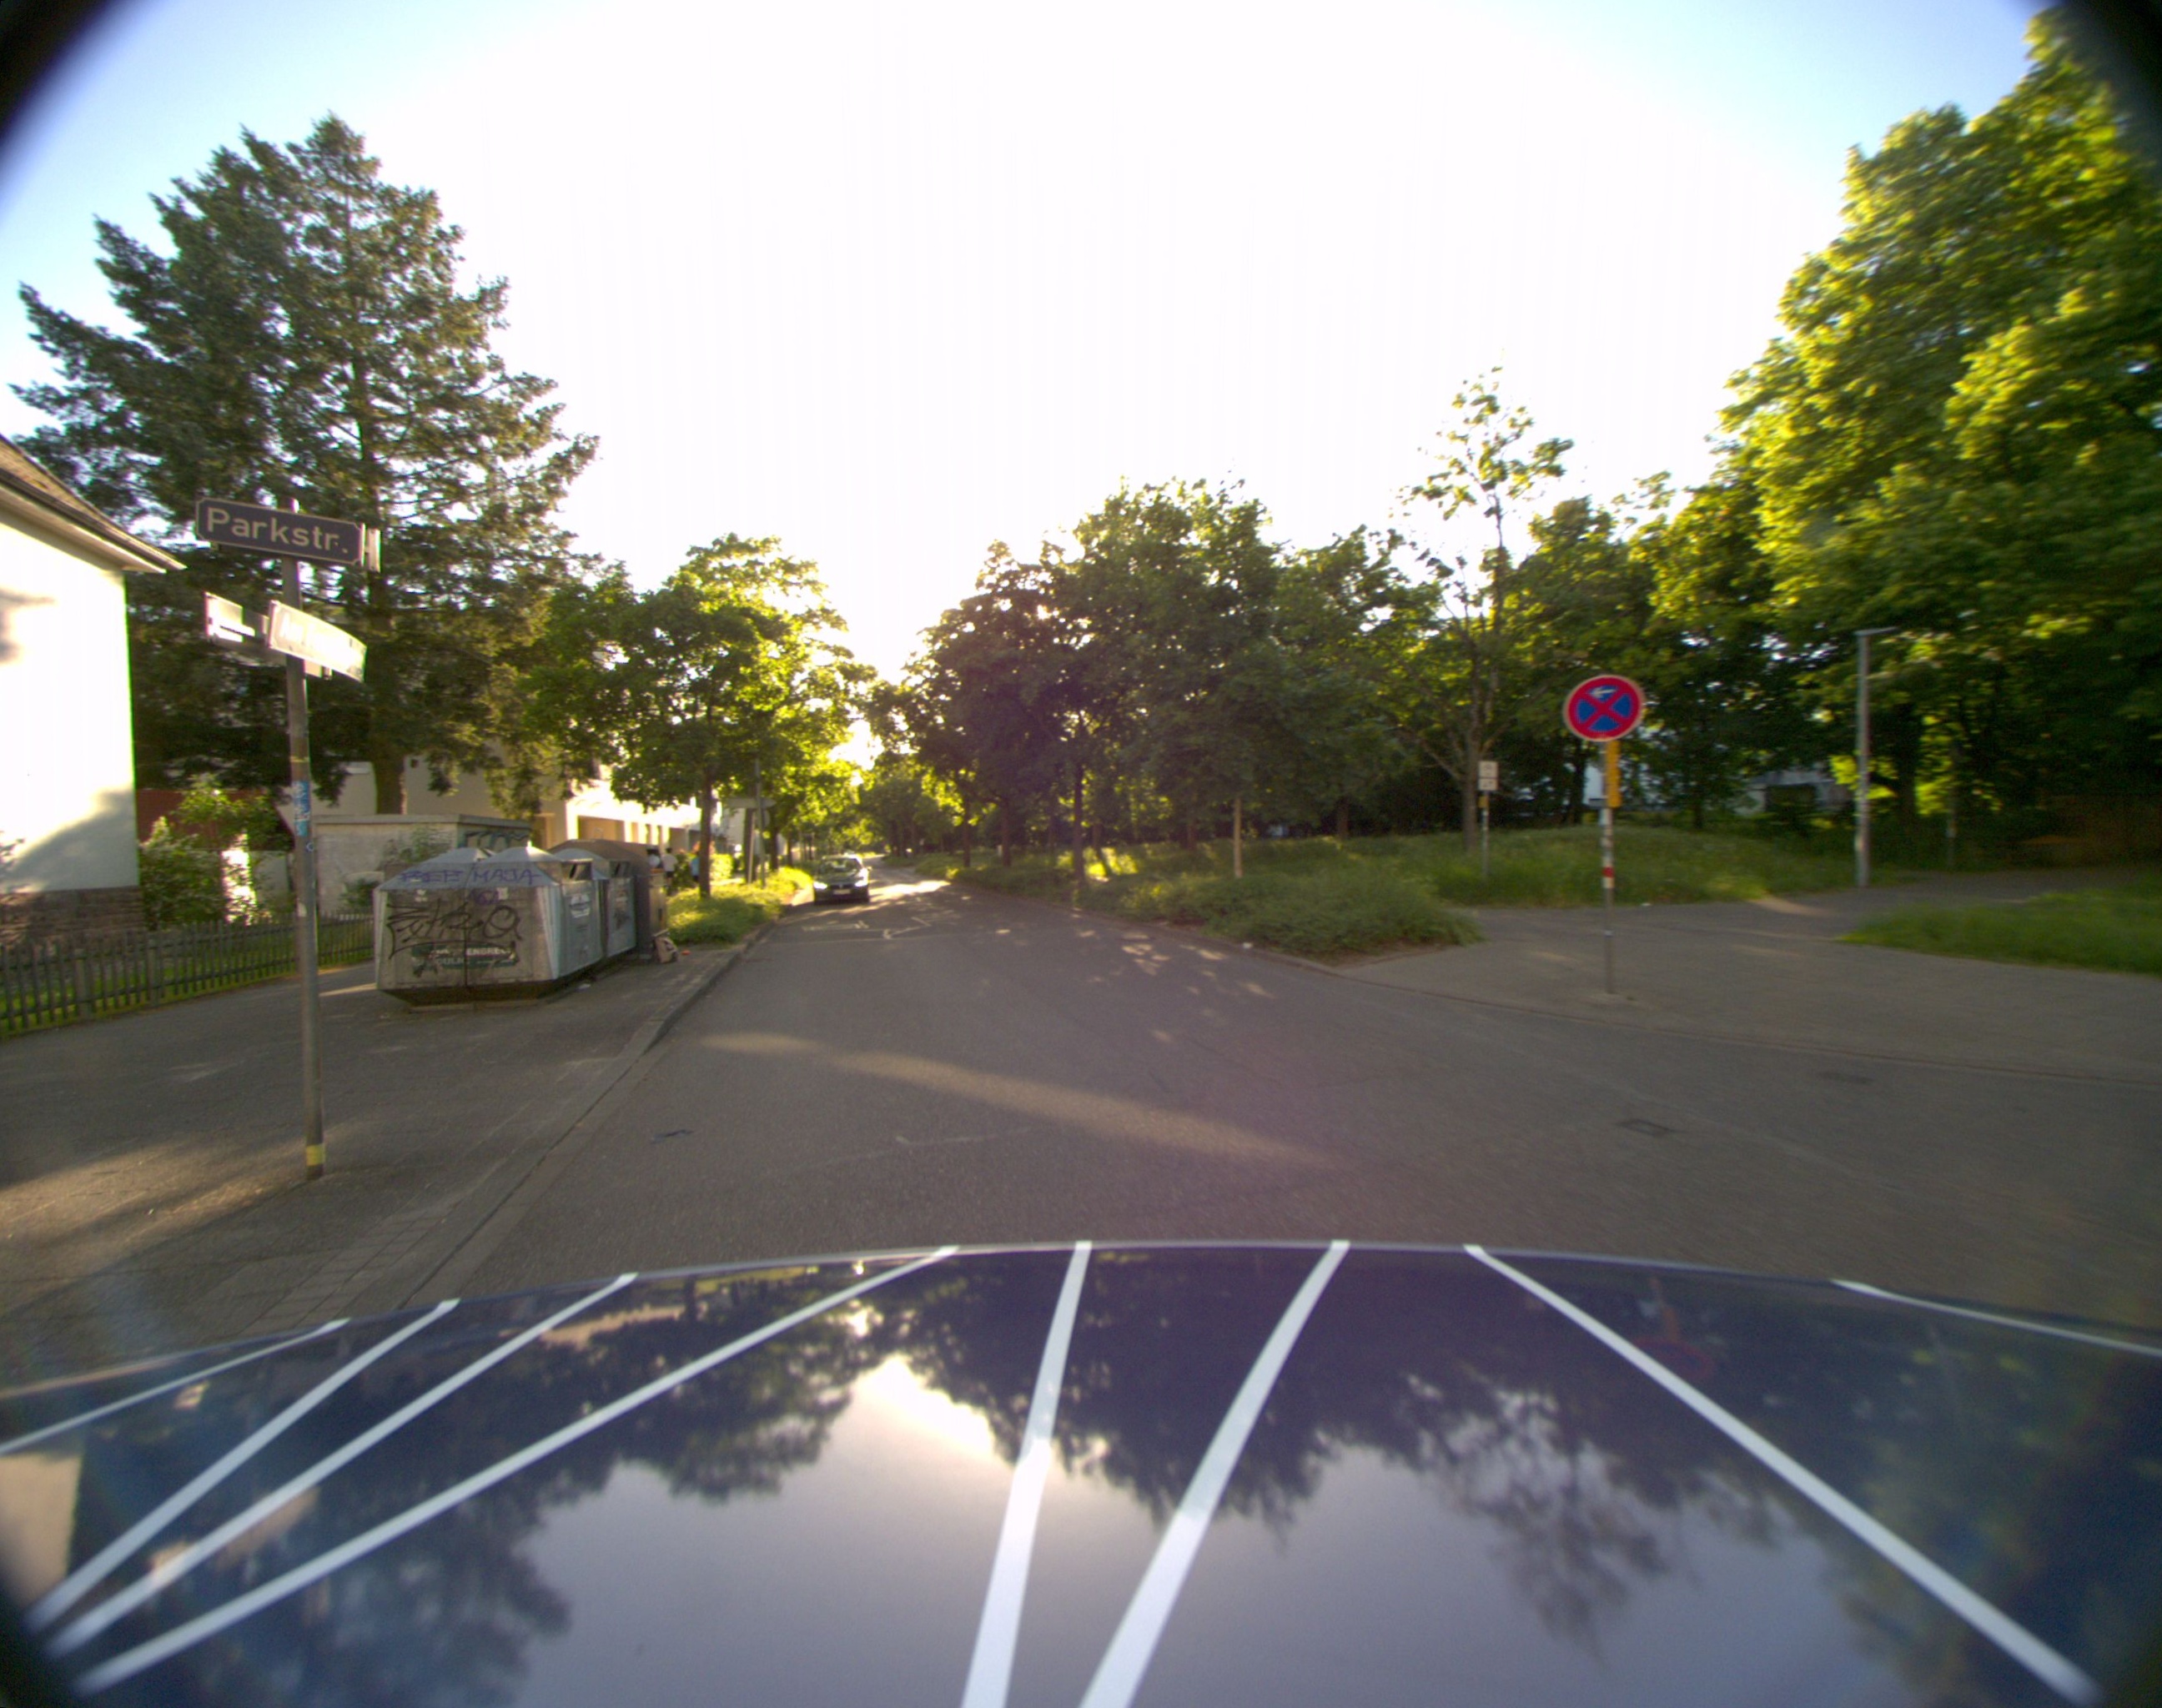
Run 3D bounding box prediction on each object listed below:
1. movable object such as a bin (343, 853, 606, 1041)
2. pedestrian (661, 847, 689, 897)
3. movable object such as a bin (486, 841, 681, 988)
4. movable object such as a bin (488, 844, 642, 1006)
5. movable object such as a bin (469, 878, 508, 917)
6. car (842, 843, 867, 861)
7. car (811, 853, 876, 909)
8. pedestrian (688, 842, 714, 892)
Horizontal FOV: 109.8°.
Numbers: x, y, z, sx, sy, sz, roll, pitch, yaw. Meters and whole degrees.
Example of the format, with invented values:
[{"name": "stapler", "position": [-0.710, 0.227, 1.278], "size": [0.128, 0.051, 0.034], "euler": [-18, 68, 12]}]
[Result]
[{"name": "movable object such as a bin", "position": [-6.246, 0.862, 8.053], "size": [1.592, 1.648, 1.637], "euler": [-3, 2, -17]}, {"name": "pedestrian", "position": [-15.795, 0.692, 29.571], "size": [0.645, 1.883, 1.017], "euler": [-3, 2, -17]}, {"name": "movable object such as a bin", "position": [-7.005, 0.780, 10.894], "size": [1.928, 1.843, 1.391], "euler": [-3, 2, -17]}, {"name": "movable object such as a bin", "position": [-6.443, 0.815, 9.619], "size": [1.151, 1.817, 1.384], "euler": [-3, 2, -17]}, {"name": "movable object such as a bin", "position": [-16.371, 1.197, 20.996], "size": [0.646, 1.024, 0.644], "euler": [-1, 1, -18]}, {"name": "car", "position": [-20.380, -0.211, 68.454], "size": [2.001, 1.531, 3.994], "euler": [-3, 2, -15]}, {"name": "car", "position": [-8.307, 0.843, 26.412], "size": [1.892, 1.613, 4.610], "euler": [-3, 2, -19]}, {"name": "pedestrian", "position": [-14.908, 0.499, 29.848], "size": [0.675, 1.883, 0.894], "euler": [-3, 2, -17]}]
